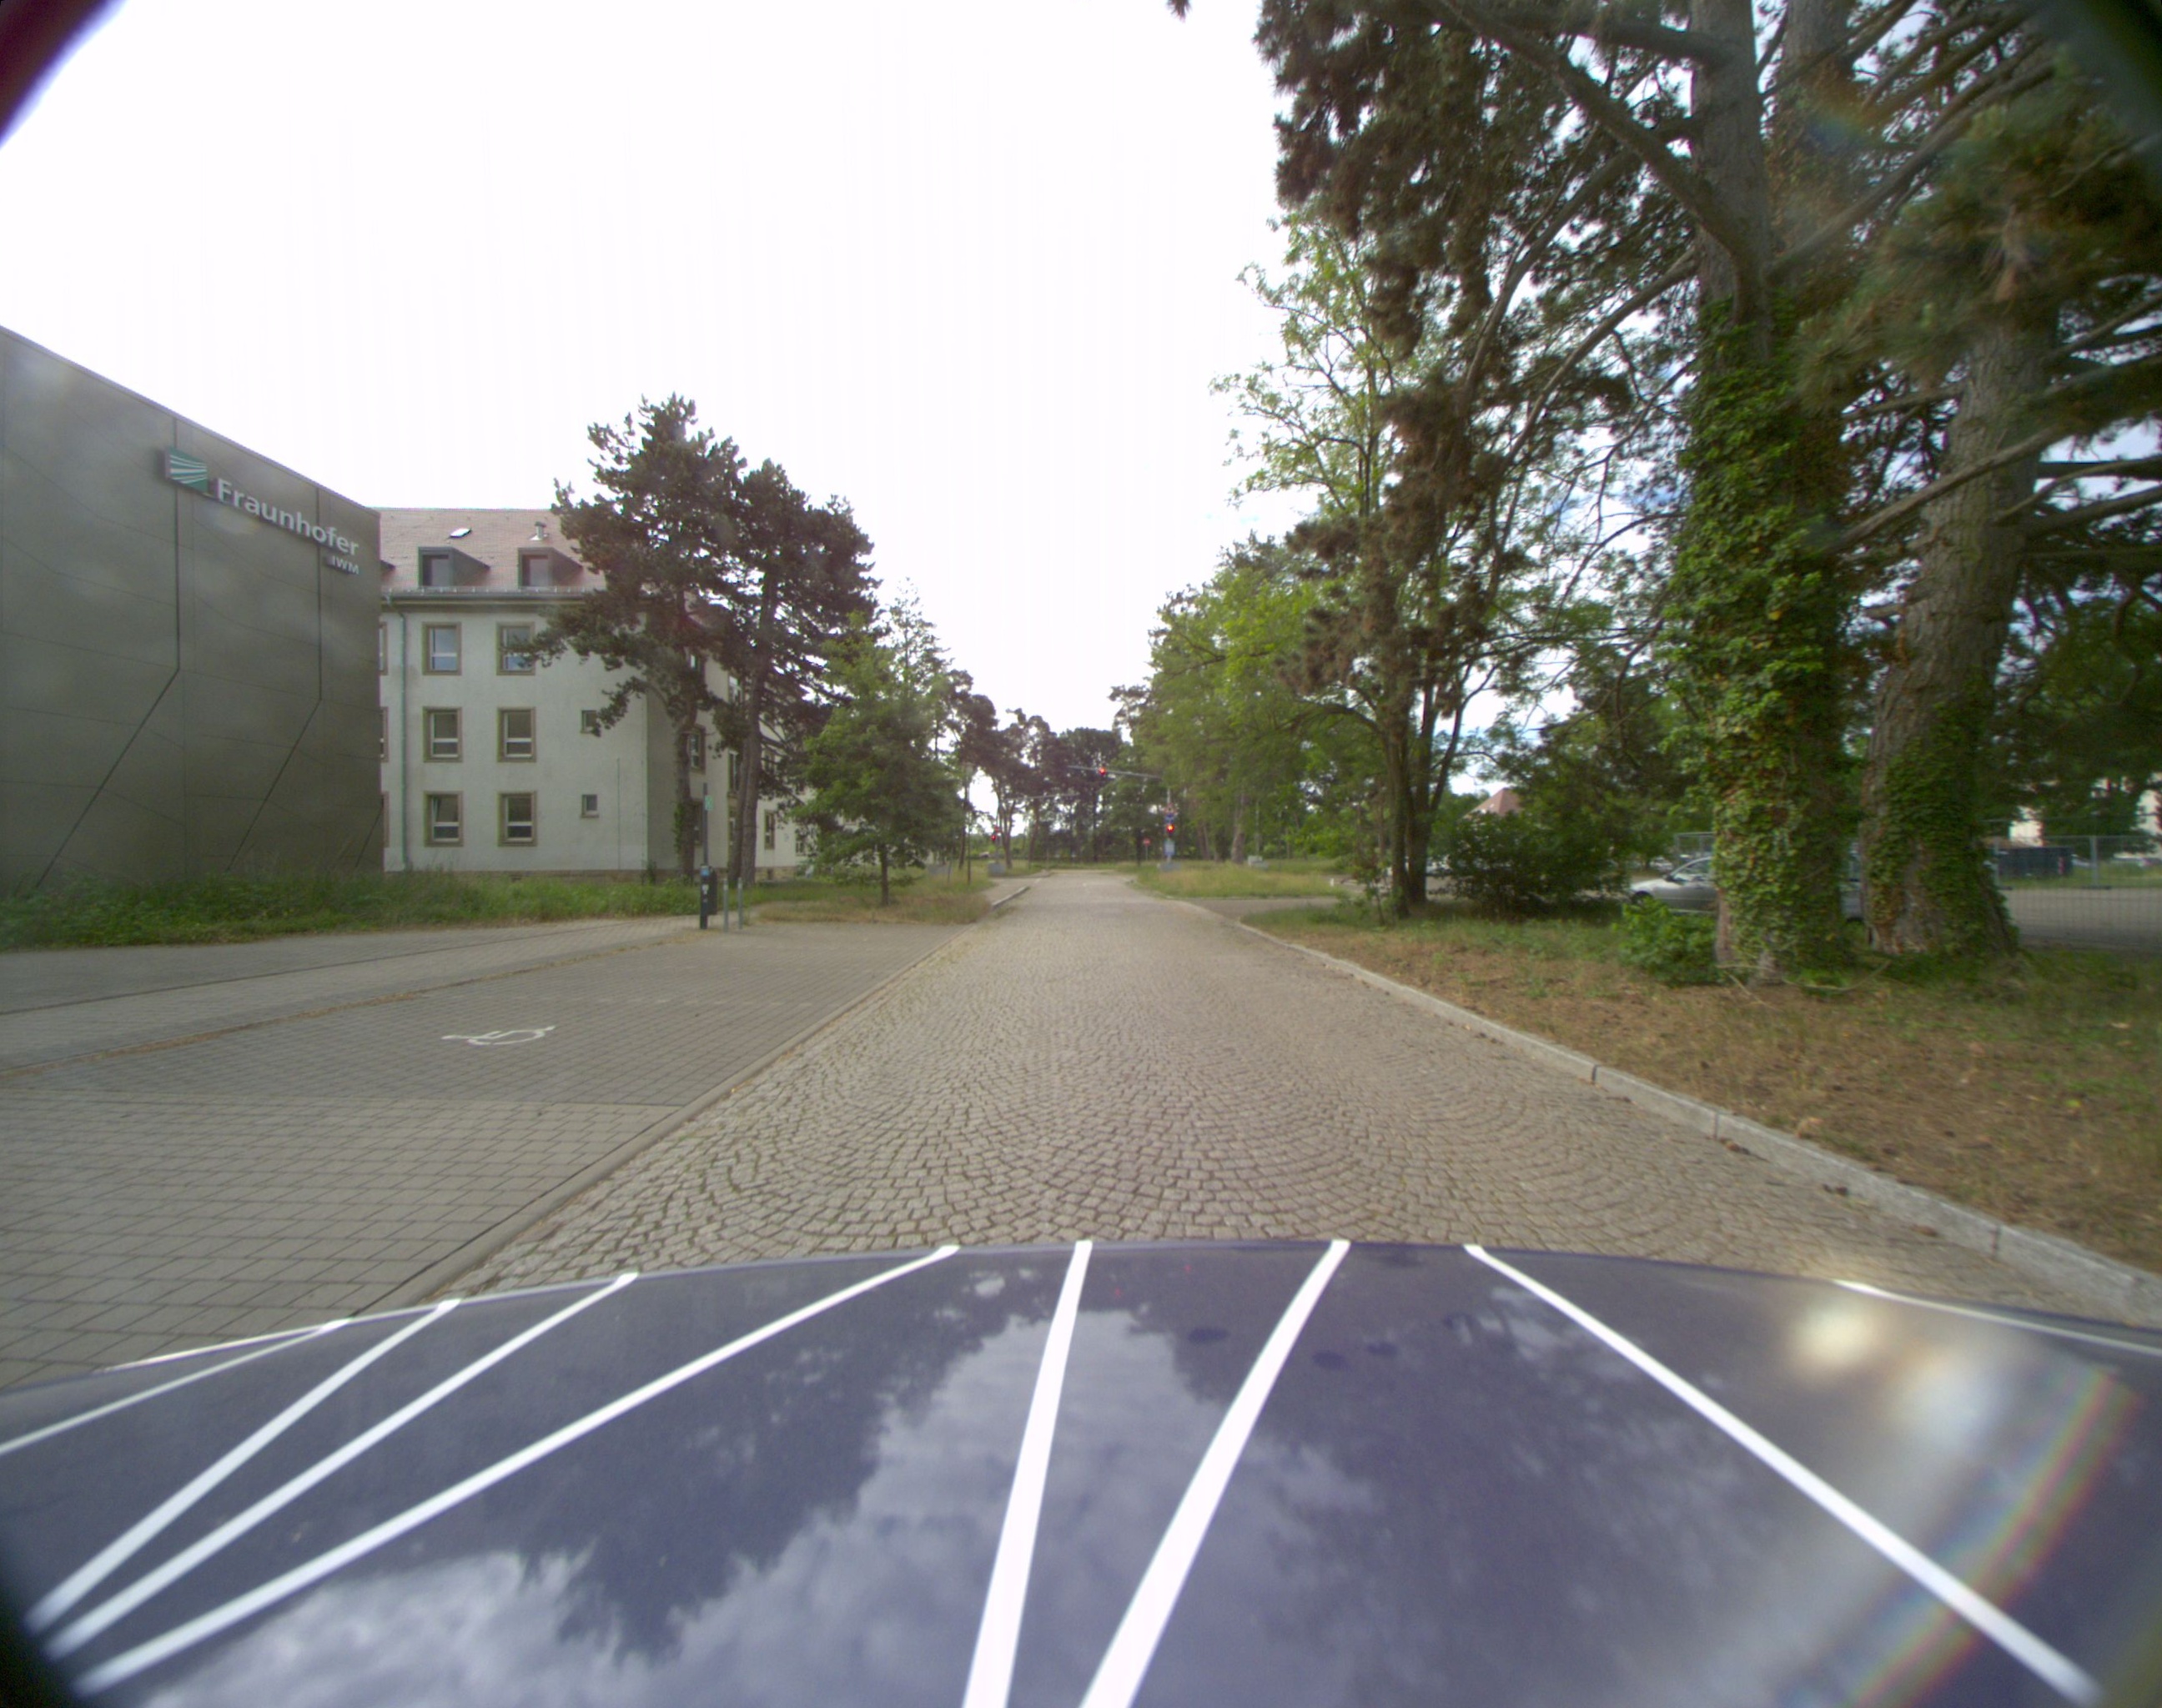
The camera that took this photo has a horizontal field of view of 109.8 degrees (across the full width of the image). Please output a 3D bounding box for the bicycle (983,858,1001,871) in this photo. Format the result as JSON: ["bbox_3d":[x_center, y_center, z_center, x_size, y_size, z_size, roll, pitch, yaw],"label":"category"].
[{"bbox_3d":[-7.745,0.901,66.183,0.613,1.079,1.660,0,0,31],"label":"bicycle"}]

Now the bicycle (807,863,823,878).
[{"bbox_3d":[-20.776,1.253,59.409,0.447,1.121,1.732,0,0,8],"label":"bicycle"}]

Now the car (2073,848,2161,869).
[{"bbox_3d":[87.489,0.395,64.167,1.828,1.712,4.585,0,0,7],"label":"car"}]

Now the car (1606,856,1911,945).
[{"bbox_3d":[12.749,0.783,14.787,1.829,1.408,4.420,2,0,-3],"label":"car"}]

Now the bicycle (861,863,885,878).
[{"bbox_3d":[-15.898,1.244,58.124,1.656,1.079,0.614,0,0,-4],"label":"bicycle"}]

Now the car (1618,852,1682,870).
[{"bbox_3d":[47.926,0.597,64.075,1.830,1.466,4.400,0,0,-5],"label":"car"}]

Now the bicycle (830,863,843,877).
[{"bbox_3d":[-19.183,1.251,59.574,0.476,1.121,1.656,0,0,-2],"label":"bicycle"}]

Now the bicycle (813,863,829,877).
[{"bbox_3d":[-20.299,1.235,59.350,0.447,1.121,1.703,0,0,8],"label":"bicycle"}]

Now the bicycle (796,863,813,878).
[{"bbox_3d":[-21.568,1.285,59.351,0.447,1.121,1.732,0,0,8],"label":"bicycle"}]

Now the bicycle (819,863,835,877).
[{"bbox_3d":[-19.804,1.243,59.332,0.476,1.121,1.704,0,0,8],"label":"bicycle"}]

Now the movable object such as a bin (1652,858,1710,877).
[{"bbox_3d":[31.857,0.722,40.376,1.448,0.963,1.957,-1,0,-8],"label":"movable object such as a bin"}]

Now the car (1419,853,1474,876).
[{"bbox_3d":[25.070,0.753,52.253,1.674,1.510,3.899,0,-2,-3],"label":"car"}]

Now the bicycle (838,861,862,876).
[{"bbox_3d":[-17.597,1.116,57.958,1.655,1.079,0.615,0,0,1],"label":"bicycle"}]

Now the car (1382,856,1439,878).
[{"bbox_3d":[22.564,0.877,52.170,1.830,1.417,4.319,0,0,-3],"label":"car"}]
